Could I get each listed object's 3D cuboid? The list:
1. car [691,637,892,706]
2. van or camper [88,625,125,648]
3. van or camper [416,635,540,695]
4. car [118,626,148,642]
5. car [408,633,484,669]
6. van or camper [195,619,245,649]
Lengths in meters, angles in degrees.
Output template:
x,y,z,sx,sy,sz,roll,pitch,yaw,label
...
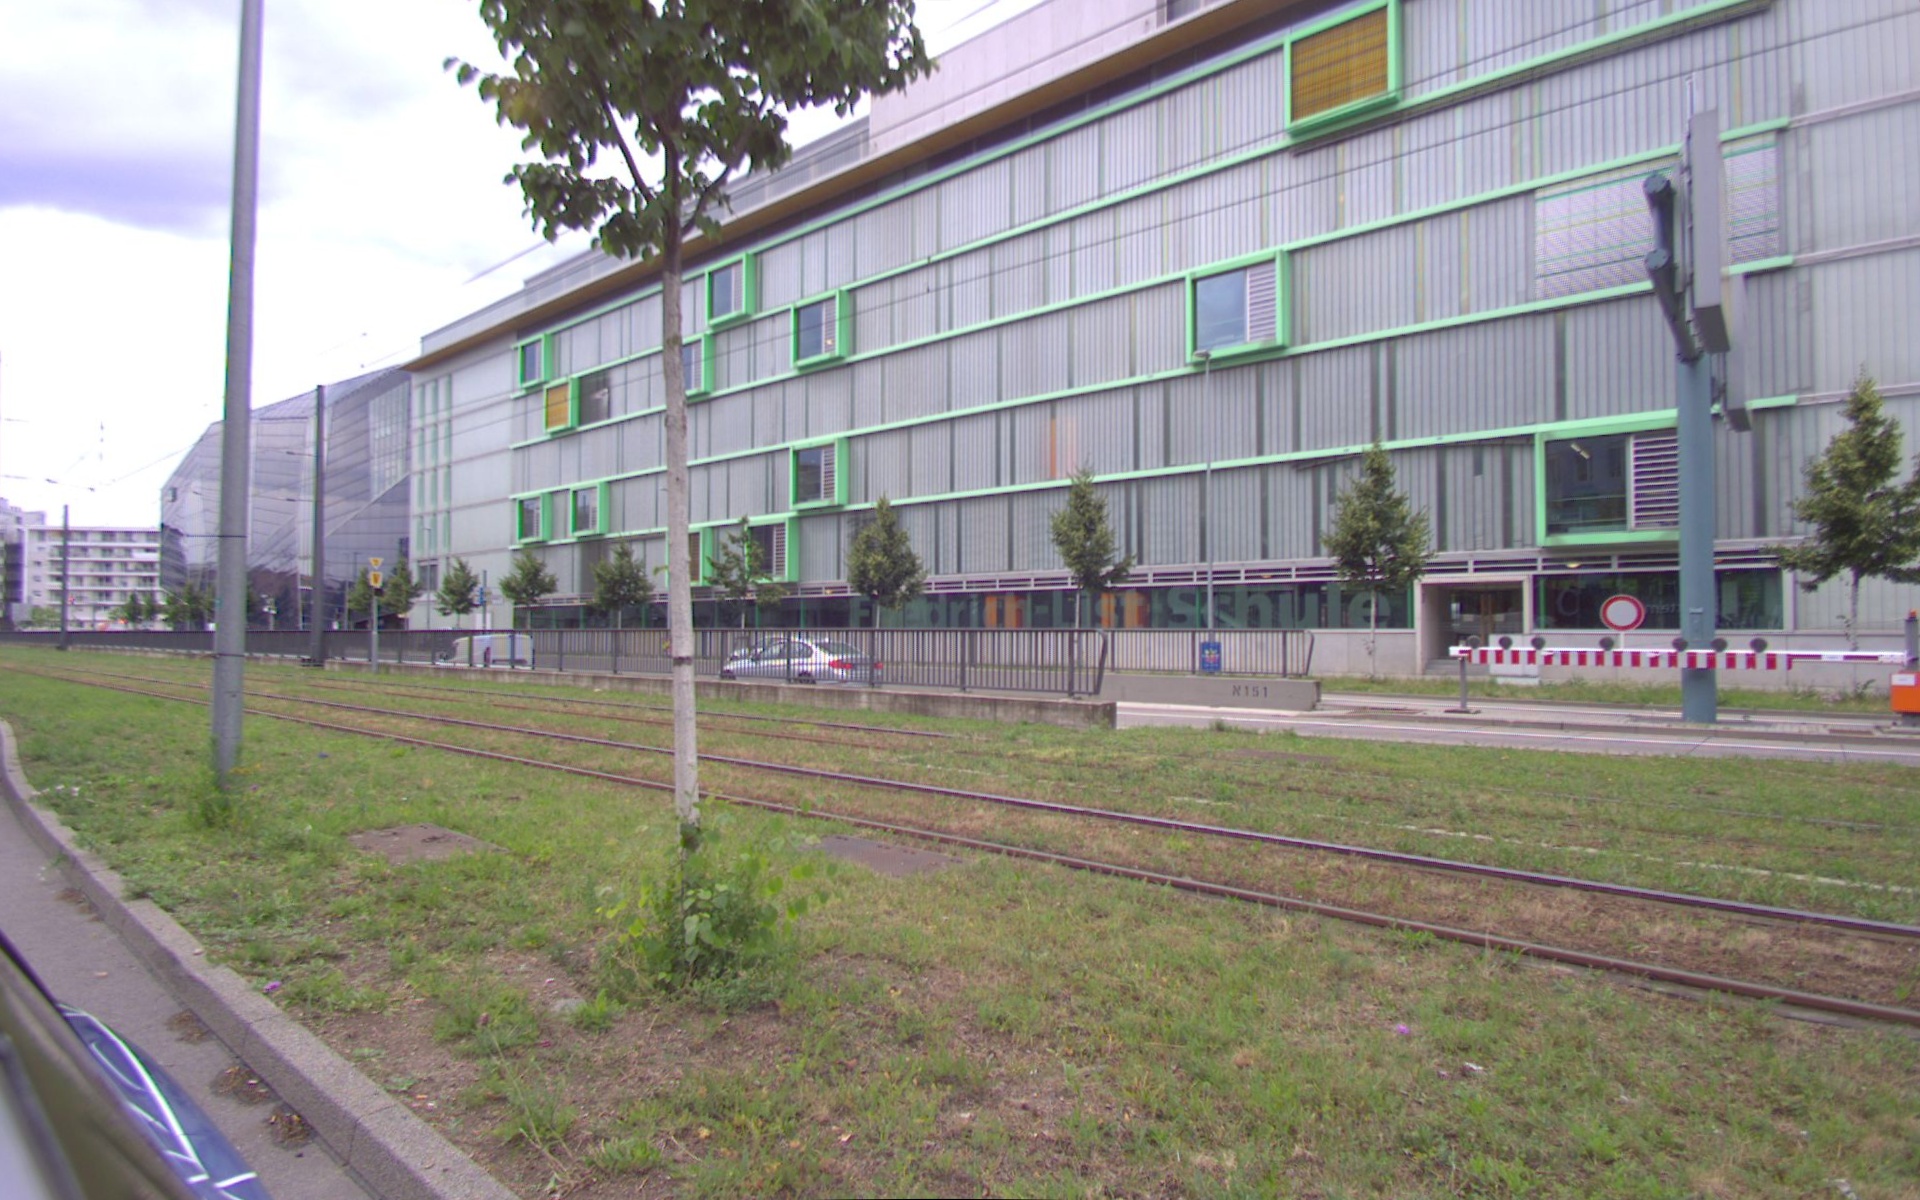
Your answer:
x,y,z,sx,sy,sz,roll,pitch,yaw,label
-4.003,1.633,23.651,4.913,1.456,1.712,-2,-4,37,car
-92.524,3.977,109.673,6.503,2.304,2.150,-2,-2,42,van or camper
-16.649,2.170,34.841,5.120,1.915,1.870,-1,-3,40,van or camper
-92.903,3.858,113.715,4.766,1.605,1.972,-4,-4,43,car
-27.672,2.679,54.437,4.965,1.837,1.972,-2,-2,42,car
-59.846,2.740,81.835,5.356,2.304,2.150,-2,-2,41,van or camper
